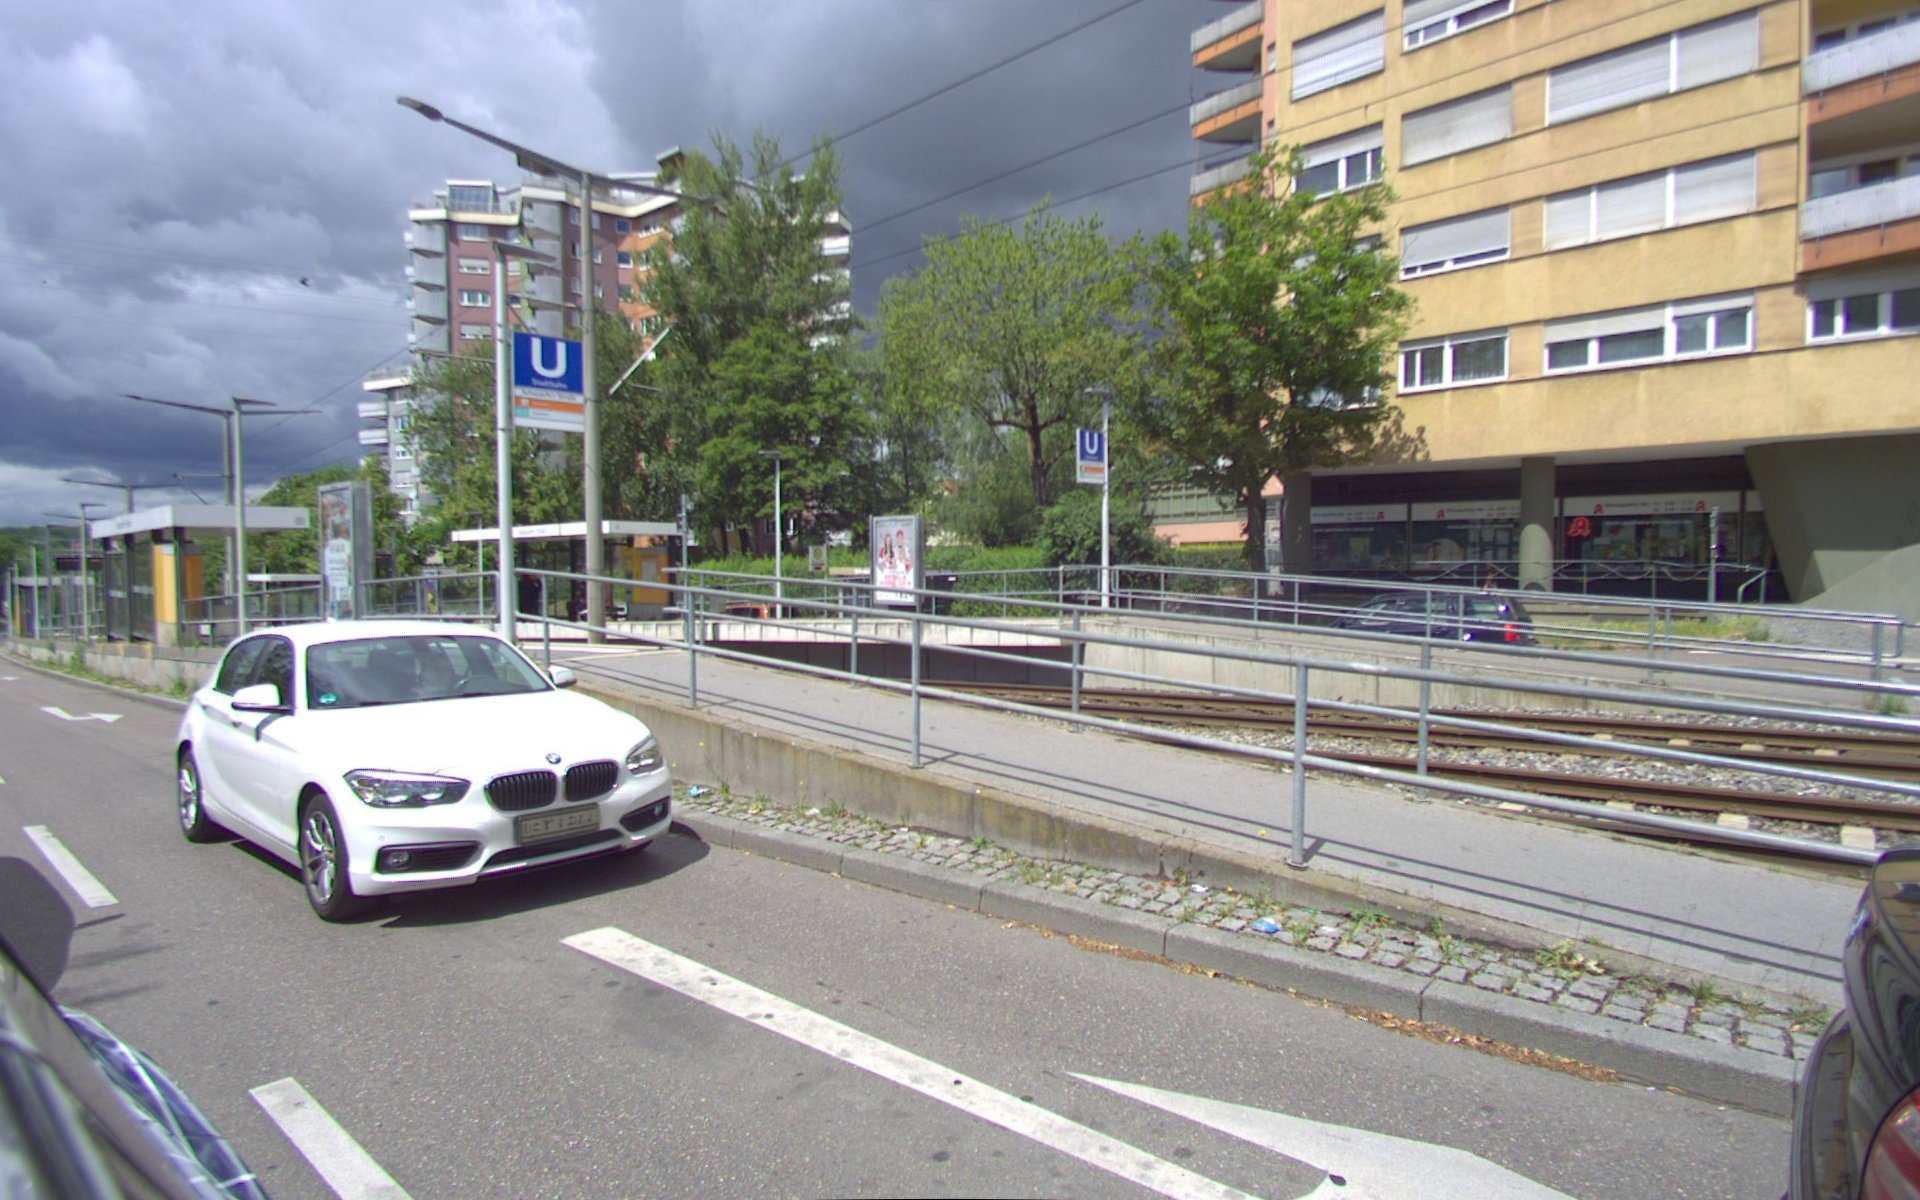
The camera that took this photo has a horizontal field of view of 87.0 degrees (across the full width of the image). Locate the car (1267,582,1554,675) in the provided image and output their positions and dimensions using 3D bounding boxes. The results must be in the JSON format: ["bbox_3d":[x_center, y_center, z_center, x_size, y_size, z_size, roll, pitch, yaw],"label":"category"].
[{"bbox_3d":[7.695,0.500,17.519,4.250,1.424,1.613,-2,-1,40],"label":"car"}]

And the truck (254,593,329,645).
[{"bbox_3d":[-44.443,1.293,67.185,7.260,3.247,2.389,-2,-1,42],"label":"truck"}]

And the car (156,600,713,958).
[{"bbox_3d":[-3.408,0.770,6.203,3.998,1.472,1.710,-1,0,42],"label":"car"}]

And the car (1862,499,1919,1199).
[{"bbox_3d":[3.176,0.600,0.115,4.542,1.472,1.710,-1,0,42],"label":"car"}]
